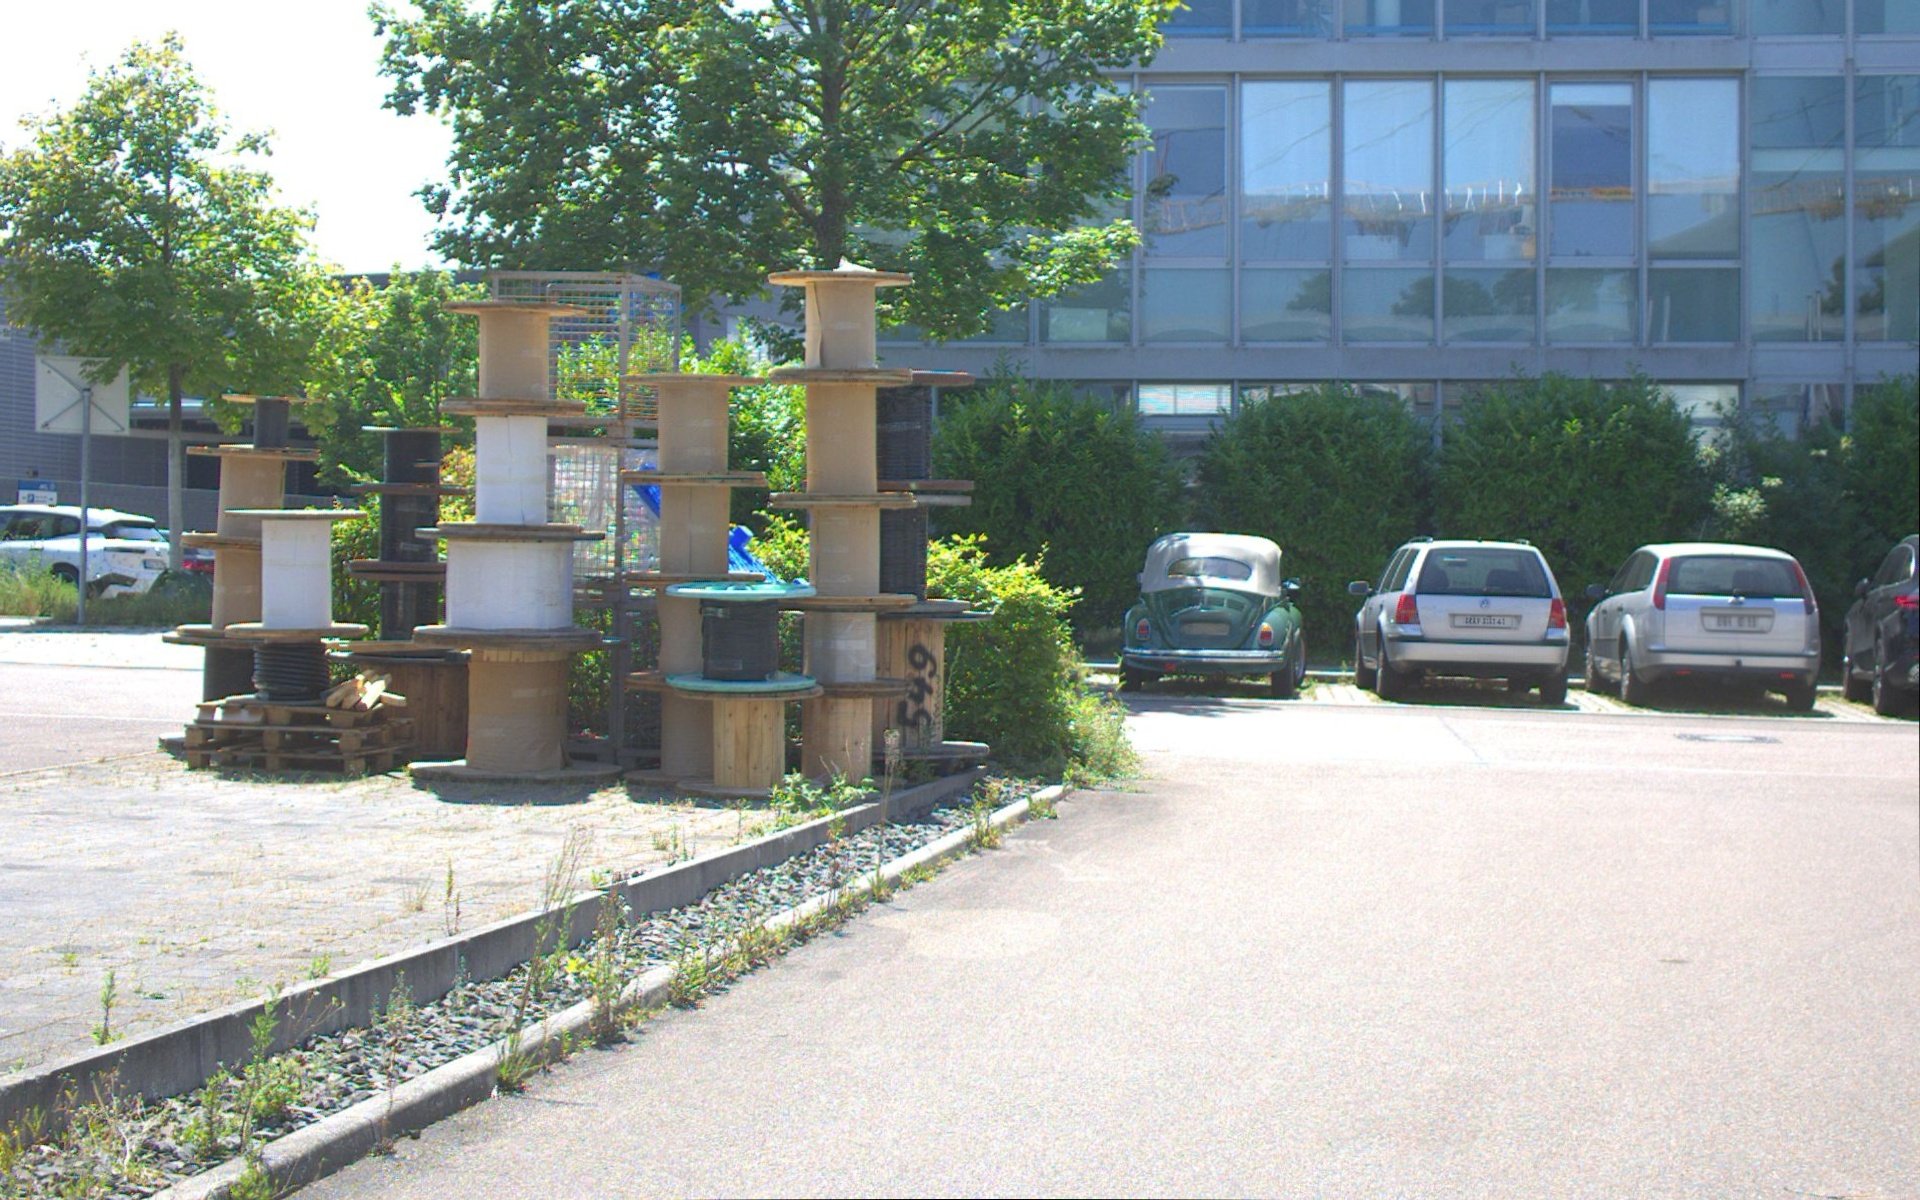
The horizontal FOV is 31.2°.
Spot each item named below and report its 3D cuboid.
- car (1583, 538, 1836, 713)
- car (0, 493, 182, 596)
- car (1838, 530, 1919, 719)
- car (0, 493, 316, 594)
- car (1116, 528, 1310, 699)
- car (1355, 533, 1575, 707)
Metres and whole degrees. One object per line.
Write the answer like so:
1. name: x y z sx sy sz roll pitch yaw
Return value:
1. car: 6.958 0.192 32.222 1.765 1.444 3.654 2 2 4
2. car: -14.722 -0.907 53.490 4.845 1.486 1.998 2 2 24
3. car: 9.302 0.204 31.627 1.928 1.605 3.985 2 2 8
4. car: -13.137 -0.947 56.127 4.845 1.486 1.998 2 2 24
5. car: 2.423 0.078 32.263 1.542 1.444 3.653 2 2 8
6. car: 4.661 0.137 32.148 1.732 1.444 3.654 2 2 4
